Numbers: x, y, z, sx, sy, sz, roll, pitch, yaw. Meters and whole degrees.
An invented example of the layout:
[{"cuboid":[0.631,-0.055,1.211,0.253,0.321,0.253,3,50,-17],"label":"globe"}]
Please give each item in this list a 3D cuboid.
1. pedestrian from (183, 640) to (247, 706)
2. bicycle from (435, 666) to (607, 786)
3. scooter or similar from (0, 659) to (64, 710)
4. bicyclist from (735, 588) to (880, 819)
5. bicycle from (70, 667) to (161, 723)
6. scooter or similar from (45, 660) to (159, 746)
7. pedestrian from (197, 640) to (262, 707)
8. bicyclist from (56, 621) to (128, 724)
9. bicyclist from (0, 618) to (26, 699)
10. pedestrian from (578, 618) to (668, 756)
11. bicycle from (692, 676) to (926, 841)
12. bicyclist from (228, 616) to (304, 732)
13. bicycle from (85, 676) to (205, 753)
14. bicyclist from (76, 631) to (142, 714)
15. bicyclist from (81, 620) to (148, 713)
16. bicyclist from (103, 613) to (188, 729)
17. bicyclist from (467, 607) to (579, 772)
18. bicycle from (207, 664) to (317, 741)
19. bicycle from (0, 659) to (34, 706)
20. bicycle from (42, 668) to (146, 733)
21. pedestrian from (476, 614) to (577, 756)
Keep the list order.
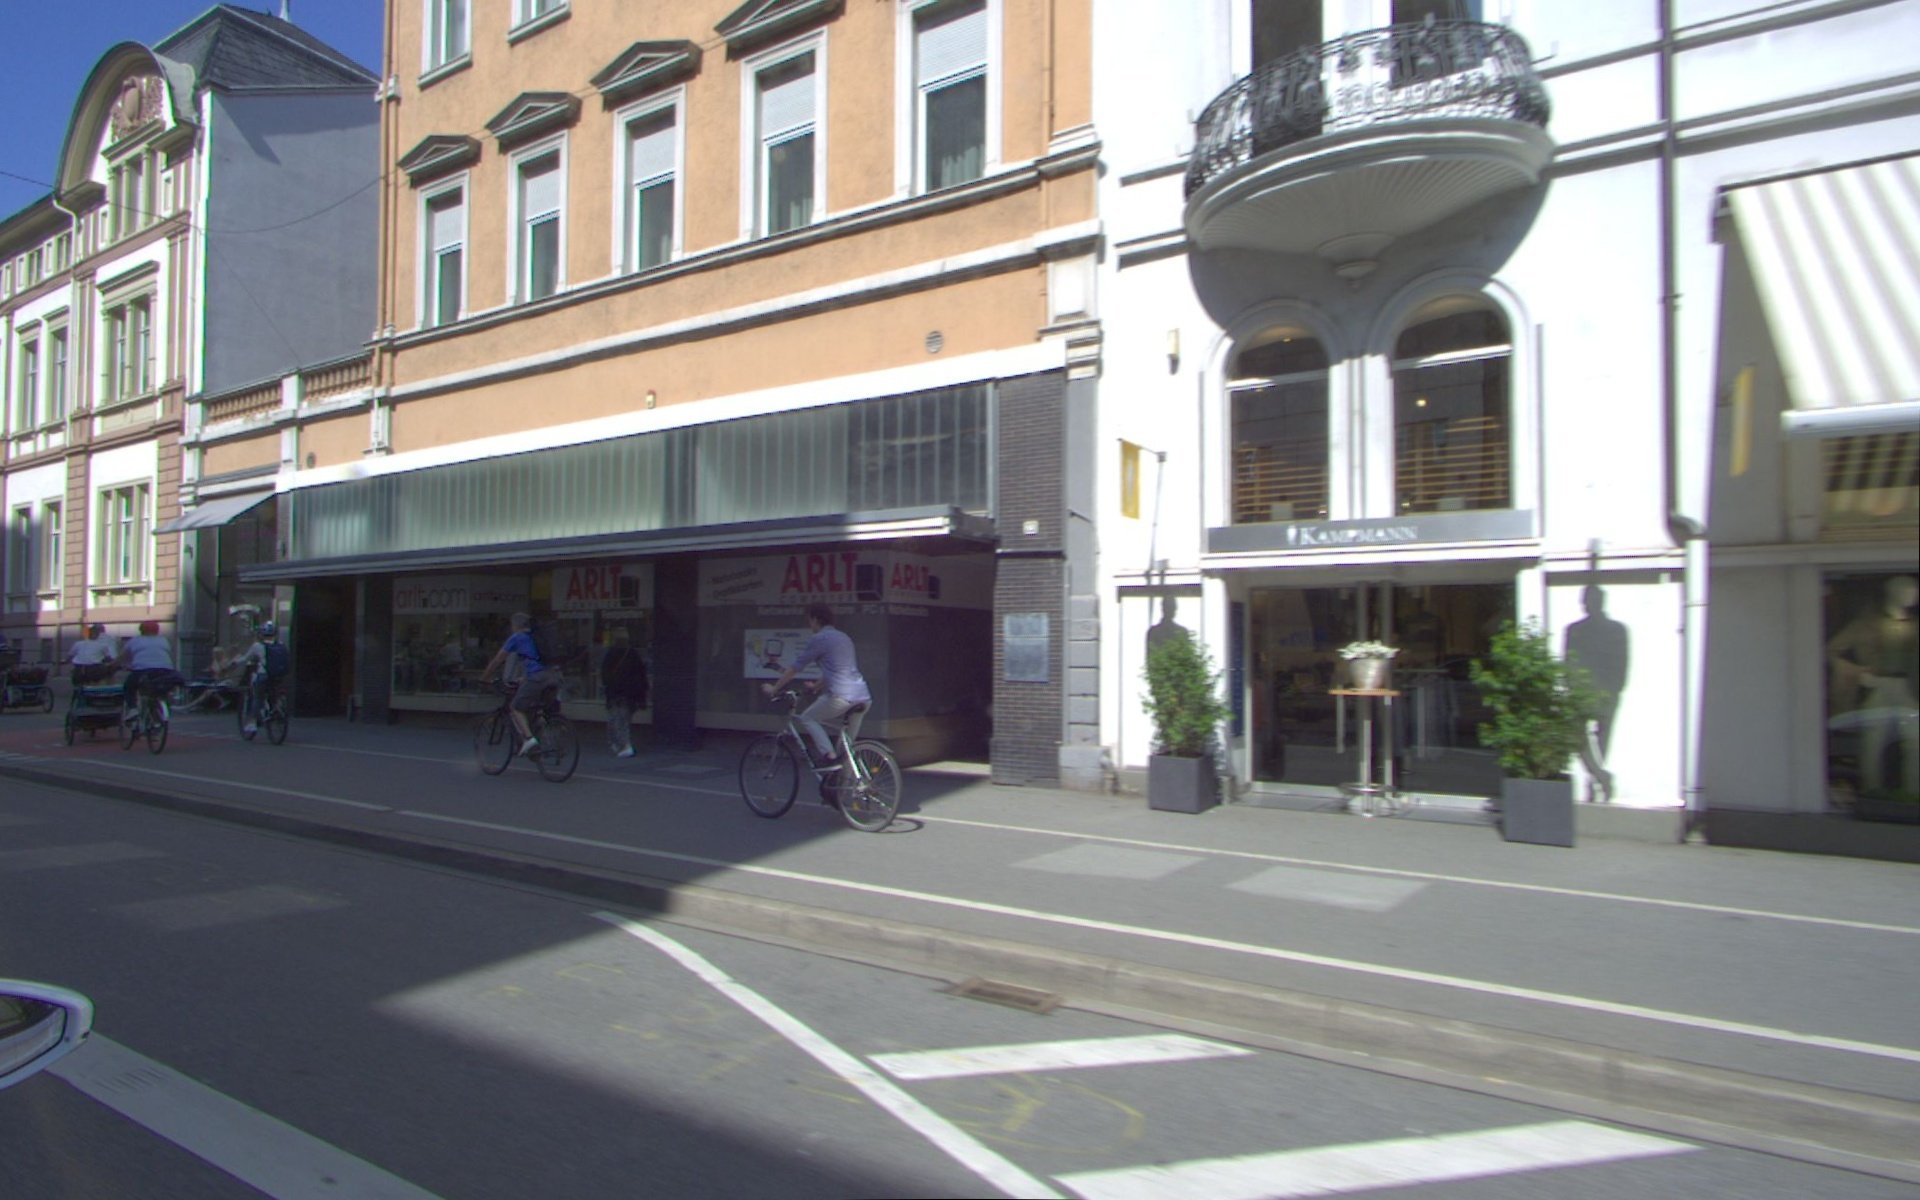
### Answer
[{"cuboid":[-15.275,1.488,20.536,0.560,1.285,0.933,0,0,37],"label":"pedestrian"},{"cuboid":[-4.766,1.311,10.828,2.073,1.134,0.646,-1,-2,32],"label":"bicycle"},{"cuboid":[-18.238,1.639,19.526,1.148,0.931,0.851,-1,-2,33],"label":"scooter or similar"},{"cuboid":[-1.262,0.821,8.321,0.998,1.792,0.646,0,-2,32],"label":"bicyclist"},{"cuboid":[-14.977,1.657,17.743,2.073,0.890,0.646,-1,-2,33],"label":"bicycle"},{"cuboid":[-12.761,1.499,14.886,1.598,1.136,0.869,-1,0,33],"label":"scooter or similar"},{"cuboid":[-14.748,1.461,20.213,0.560,1.285,0.933,0,0,37],"label":"pedestrian"},{"cuboid":[-13.983,1.155,16.134,0.907,1.615,0.631,-1,-2,33],"label":"bicyclist"},{"cuboid":[-19.640,1.176,20.361,0.950,1.615,0.708,0,-2,33],"label":"bicyclist"},{"cuboid":[-4.363,1.100,12.969,0.931,1.706,0.646,0,-2,32],"label":"pedestrian"},{"cuboid":[-1.285,1.252,8.292,2.042,1.135,0.554,0,0,32],"label":"bicycle"},{"cuboid":[-10.024,1.049,14.460,0.907,1.615,0.581,0,-2,33],"label":"bicyclist"},{"cuboid":[-11.030,1.517,13.533,2.074,0.891,0.645,-2,0,33],"label":"bicycle"},{"cuboid":[-13.342,1.120,15.707,0.599,1.264,0.622,0,-2,33],"label":"bicyclist"},{"cuboid":[-15.118,1.181,17.899,0.907,1.615,0.656,-1,-2,33],"label":"bicyclist"},{"cuboid":[-10.980,0.941,13.505,0.877,1.495,0.624,0,-2,33],"label":"bicyclist"},{"cuboid":[-4.749,0.946,10.892,0.998,1.706,0.646,0,-2,32],"label":"bicyclist"},{"cuboid":[-10.143,1.456,14.516,2.073,1.009,0.562,-1,-2,33],"label":"bicycle"},{"cuboid":[-19.640,1.662,20.330,2.108,0.890,0.739,-1,-3,33],"label":"bicycle"},{"cuboid":[-13.926,1.590,16.083,2.355,0.891,0.645,-1,0,33],"label":"bicycle"},{"cuboid":[-5.590,1.061,12.919,0.824,1.740,0.876,0,-1,35],"label":"pedestrian"}]
